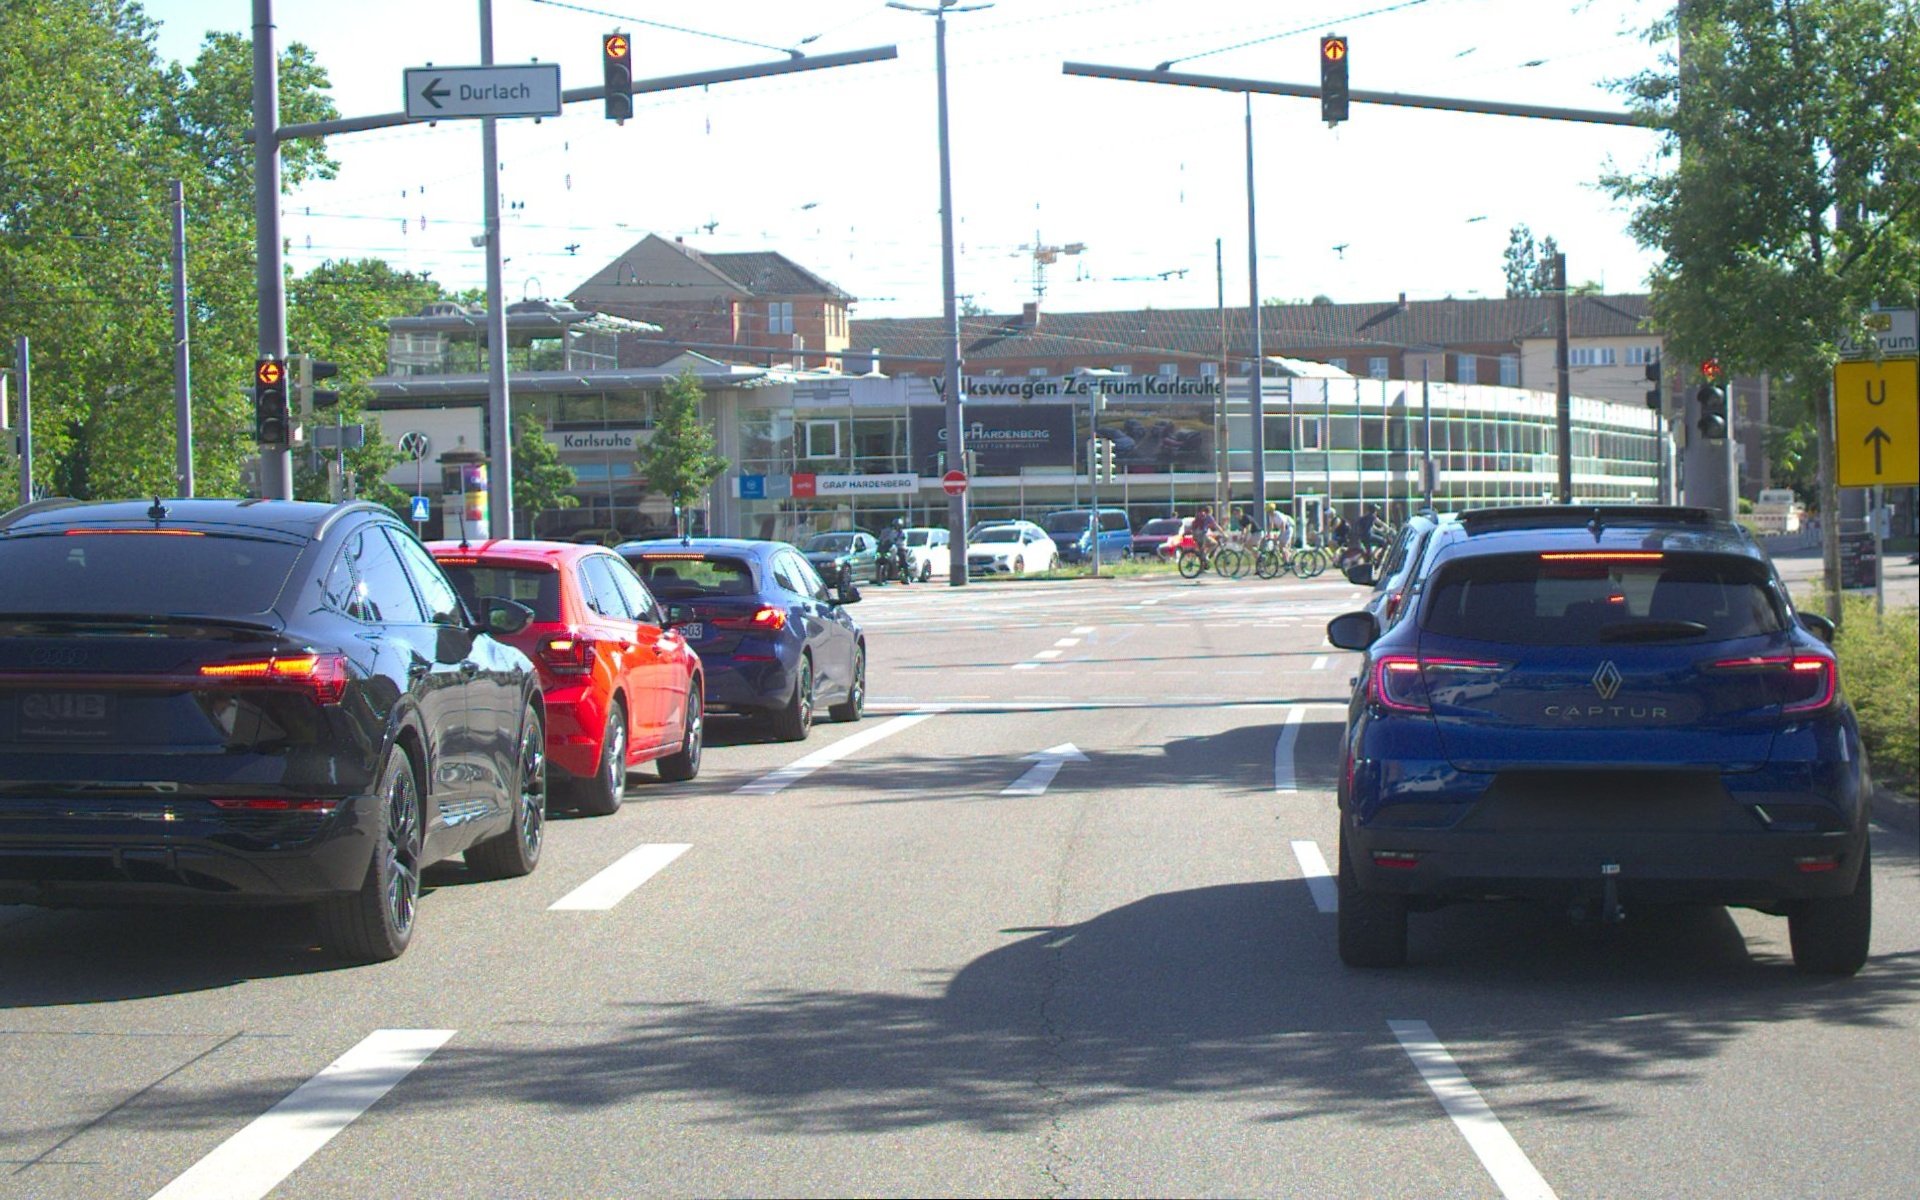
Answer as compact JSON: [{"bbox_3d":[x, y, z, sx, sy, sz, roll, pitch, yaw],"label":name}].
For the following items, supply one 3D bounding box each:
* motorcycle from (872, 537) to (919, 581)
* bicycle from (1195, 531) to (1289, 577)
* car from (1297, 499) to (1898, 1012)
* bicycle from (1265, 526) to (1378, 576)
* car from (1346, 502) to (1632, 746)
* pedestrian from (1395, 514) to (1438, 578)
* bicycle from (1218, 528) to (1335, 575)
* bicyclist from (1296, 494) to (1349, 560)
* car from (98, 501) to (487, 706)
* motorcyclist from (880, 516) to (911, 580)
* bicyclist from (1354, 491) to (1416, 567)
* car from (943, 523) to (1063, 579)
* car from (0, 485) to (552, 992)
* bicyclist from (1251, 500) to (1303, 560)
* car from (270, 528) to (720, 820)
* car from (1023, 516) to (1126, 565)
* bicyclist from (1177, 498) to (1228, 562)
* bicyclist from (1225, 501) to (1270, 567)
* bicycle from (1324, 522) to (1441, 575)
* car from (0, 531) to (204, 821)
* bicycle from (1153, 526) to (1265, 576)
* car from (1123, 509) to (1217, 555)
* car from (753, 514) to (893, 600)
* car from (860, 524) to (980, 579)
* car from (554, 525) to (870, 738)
[{"bbox_3d":[-1.625,-1.035,86.953,0.562,1.090,1.834,0,1,19],"label":"motorcycle"},{"bbox_3d":[6.931,-1.134,84.487,2.178,1.091,0.759,-1,1,-5],"label":"bicycle"},{"bbox_3d":[2.346,0.450,12.961,1.877,1.612,3.796,1,1,9],"label":"car"},{"bbox_3d":[9.001,-1.228,85.688,2.645,1.184,0.948,-1,3,-12],"label":"bicycle"},{"bbox_3d":[3.769,0.127,24.843,1.877,1.612,3.624,1,1,7],"label":"car"},{"bbox_3d":[11.836,-1.399,89.207,0.849,1.605,0.703,-3,4,-39],"label":"pedestrian"},{"bbox_3d":[7.667,-1.175,83.299,2.642,1.091,0.969,-1,1,-15],"label":"bicycle"},{"bbox_3d":[9.029,-1.822,85.644,1.062,1.578,0.948,-1,3,-12],"label":"bicyclist"},{"bbox_3d":[-5.100,-0.015,26.786,1.726,1.437,3.909,2,1,9],"label":"car"},{"bbox_3d":[-1.626,-1.320,86.943,0.550,1.615,0.744,0,1,19],"label":"motorcyclist"},{"bbox_3d":[10.191,-1.719,82.445,1.183,1.770,0.948,-1,3,-20],"label":"bicyclist"},{"bbox_3d":[1.165,-1.323,91.363,1.727,1.437,4.179,0,1,23],"label":"car"},{"bbox_3d":[-2.864,0.398,13.230,1.984,1.618,4.378,0,1,1],"label":"car"},{"bbox_3d":[7.690,-1.690,83.311,0.961,1.444,0.969,-1,1,-15],"label":"bicyclist"},{"bbox_3d":[-2.496,0.332,19.308,1.672,1.437,3.721,1,1,5],"label":"car"},{"bbox_3d":[3.545,-1.828,105.483,1.727,1.437,4.179,2,1,23],"label":"car"},{"bbox_3d":[6.088,-1.768,86.452,1.062,1.578,0.948,-1,3,-12],"label":"bicyclist"},{"bbox_3d":[7.065,-1.624,84.481,0.985,1.598,0.759,-1,1,-5],"label":"bicyclist"},{"bbox_3d":[10.135,-1.238,82.446,2.645,1.184,0.948,-1,3,-20],"label":"bicycle"},{"bbox_3d":[-5.539,0.350,18.854,1.725,1.437,3.798,0,1,4],"label":"car"},{"bbox_3d":[6.263,-1.230,86.521,2.645,1.184,0.948,-1,3,-12],"label":"bicycle"},{"bbox_3d":[6.863,-2.203,112.114,1.727,1.437,4.179,2,1,23],"label":"car"},{"bbox_3d":[-3.466,-1.124,87.745,1.996,2.006,3.996,1,4,24],"label":"car"},{"bbox_3d":[-1.070,-1.343,93.955,1.727,1.437,4.179,0,1,23],"label":"car"},{"bbox_3d":[-1.779,0.176,25.773,1.725,1.437,3.798,1,1,5],"label":"car"}]
